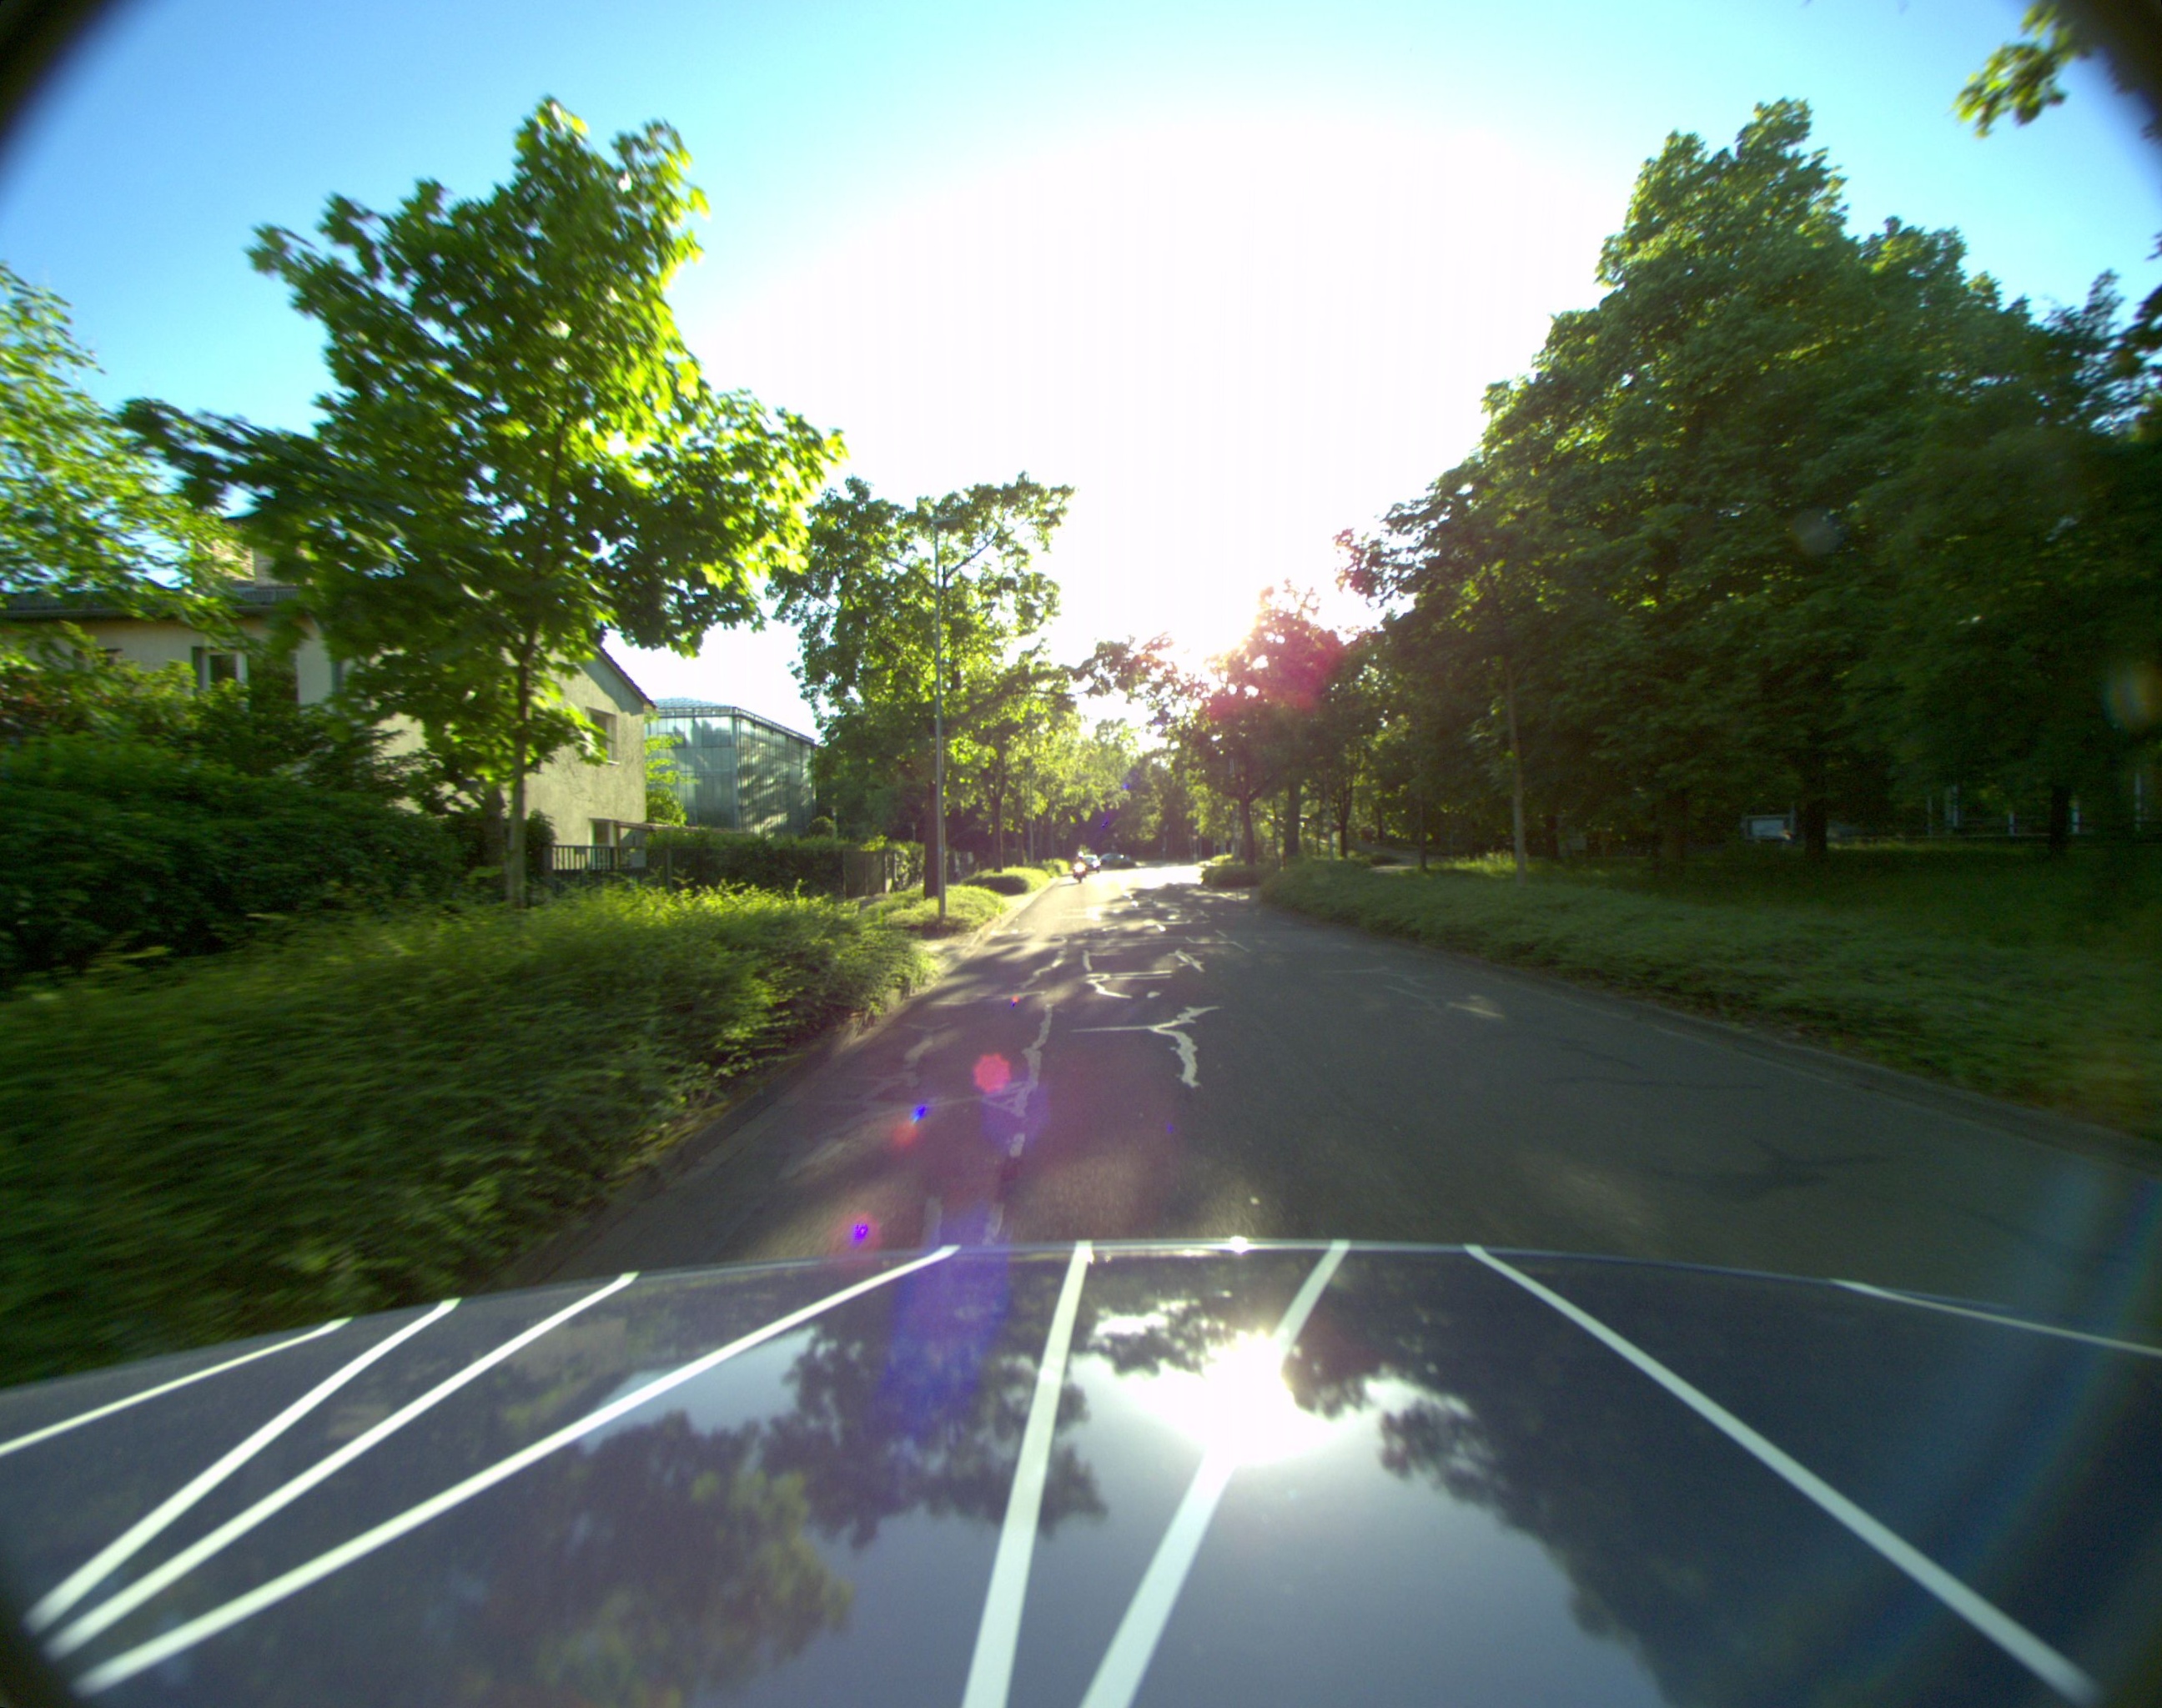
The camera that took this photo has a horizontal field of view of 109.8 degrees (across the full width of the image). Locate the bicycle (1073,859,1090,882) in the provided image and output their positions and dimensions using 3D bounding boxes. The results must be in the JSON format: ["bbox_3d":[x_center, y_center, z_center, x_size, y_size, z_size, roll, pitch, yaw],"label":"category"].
[{"bbox_3d":[0.029,0.886,42.090,0.829,1.182,2.302,-3,0,0],"label":"bicycle"}]

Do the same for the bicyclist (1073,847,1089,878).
[{"bbox_3d":[0.005,0.474,42.039,0.819,1.635,0.744,-4,1,0],"label":"bicyclist"}]
